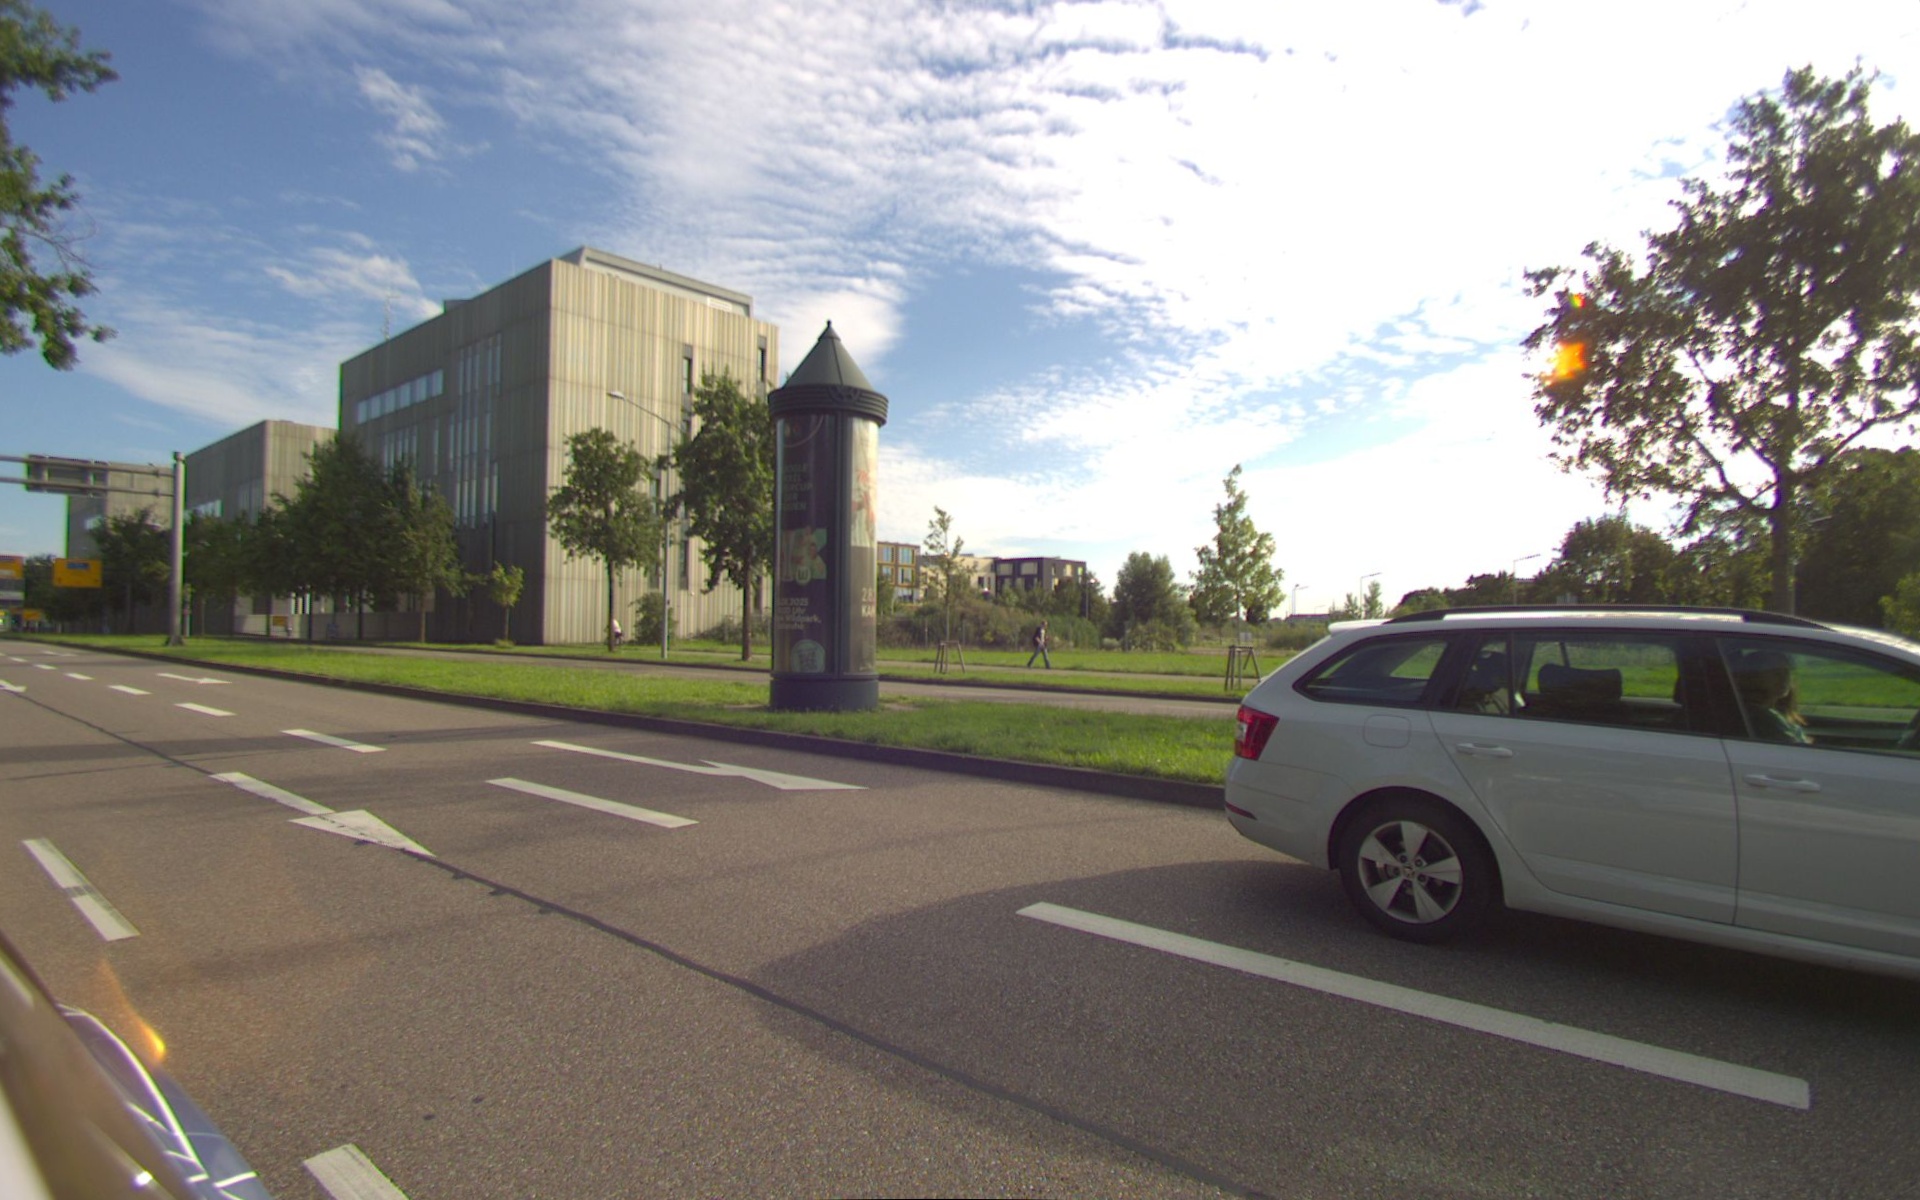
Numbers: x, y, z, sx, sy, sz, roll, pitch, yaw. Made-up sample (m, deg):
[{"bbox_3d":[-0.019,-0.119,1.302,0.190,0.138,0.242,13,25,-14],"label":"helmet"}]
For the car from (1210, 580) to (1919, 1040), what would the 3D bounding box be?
[{"bbox_3d":[3.471,0.698,4.169,4.479,1.510,1.681,-1,-1,41],"label":"car"}]

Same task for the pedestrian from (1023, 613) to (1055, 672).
[{"bbox_3d":[2.758,1.467,35.366,0.867,2.029,0.667,-1,-3,41],"label":"pedestrian"}]

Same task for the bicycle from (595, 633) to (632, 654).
[{"bbox_3d":[-17.263,2.157,50.445,1.910,0.989,0.885,-2,-3,41],"label":"bicycle"}]

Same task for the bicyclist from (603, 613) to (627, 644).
[{"bbox_3d":[-17.178,1.438,50.415,0.989,1.537,0.698,-1,-3,41],"label":"bicyclist"}]
